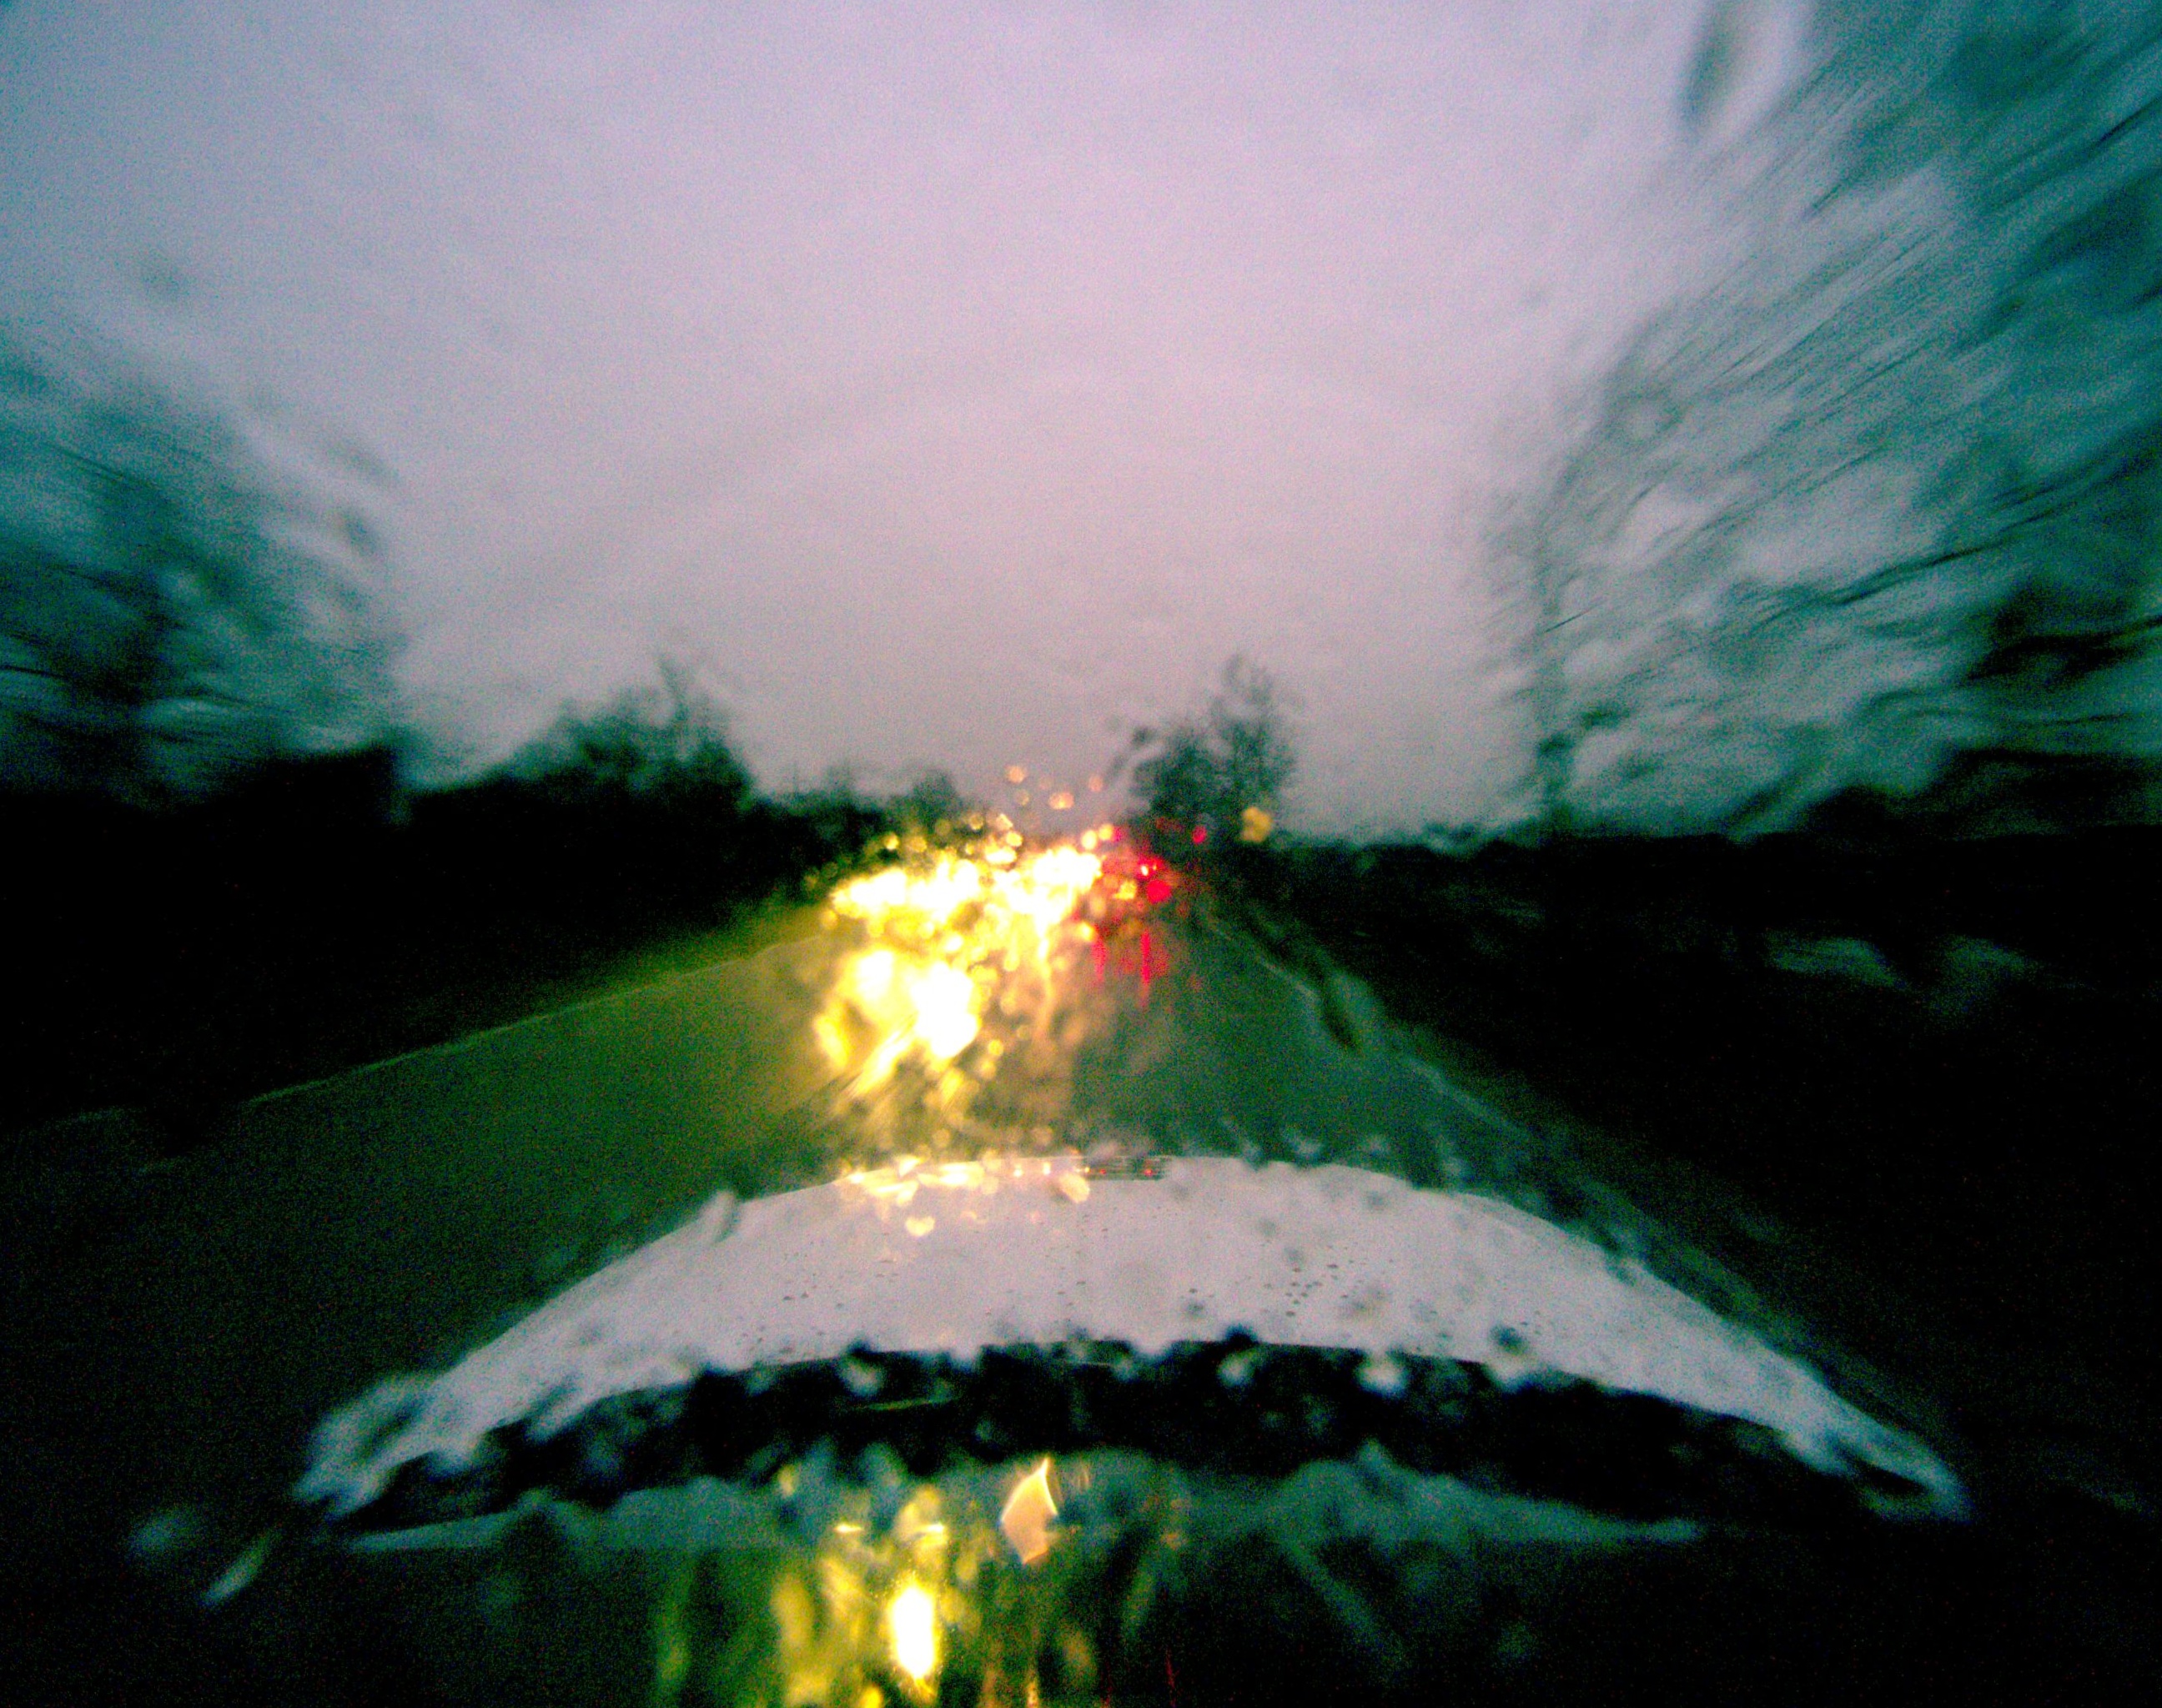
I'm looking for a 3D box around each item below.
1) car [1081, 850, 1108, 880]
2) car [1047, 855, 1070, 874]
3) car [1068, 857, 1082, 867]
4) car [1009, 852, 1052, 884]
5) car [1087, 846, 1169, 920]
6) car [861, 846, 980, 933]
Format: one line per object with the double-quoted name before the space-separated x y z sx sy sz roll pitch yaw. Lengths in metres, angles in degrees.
"car" 0.904 0.685 52.397 1.568 1.875 3.712 0 0 3
"car" -2.080 0.973 76.560 1.916 1.654 4.105 -1 0 1
"car" -0.874 1.183 118.852 1.811 1.441 3.456 0 0 1
"car" -2.590 0.698 42.684 1.773 1.596 4.694 -1 0 2
"car" 1.247 0.706 21.818 1.985 1.784 4.003 0 0 3
"car" -3.351 0.694 17.751 1.746 1.647 4.049 -1 0 0
